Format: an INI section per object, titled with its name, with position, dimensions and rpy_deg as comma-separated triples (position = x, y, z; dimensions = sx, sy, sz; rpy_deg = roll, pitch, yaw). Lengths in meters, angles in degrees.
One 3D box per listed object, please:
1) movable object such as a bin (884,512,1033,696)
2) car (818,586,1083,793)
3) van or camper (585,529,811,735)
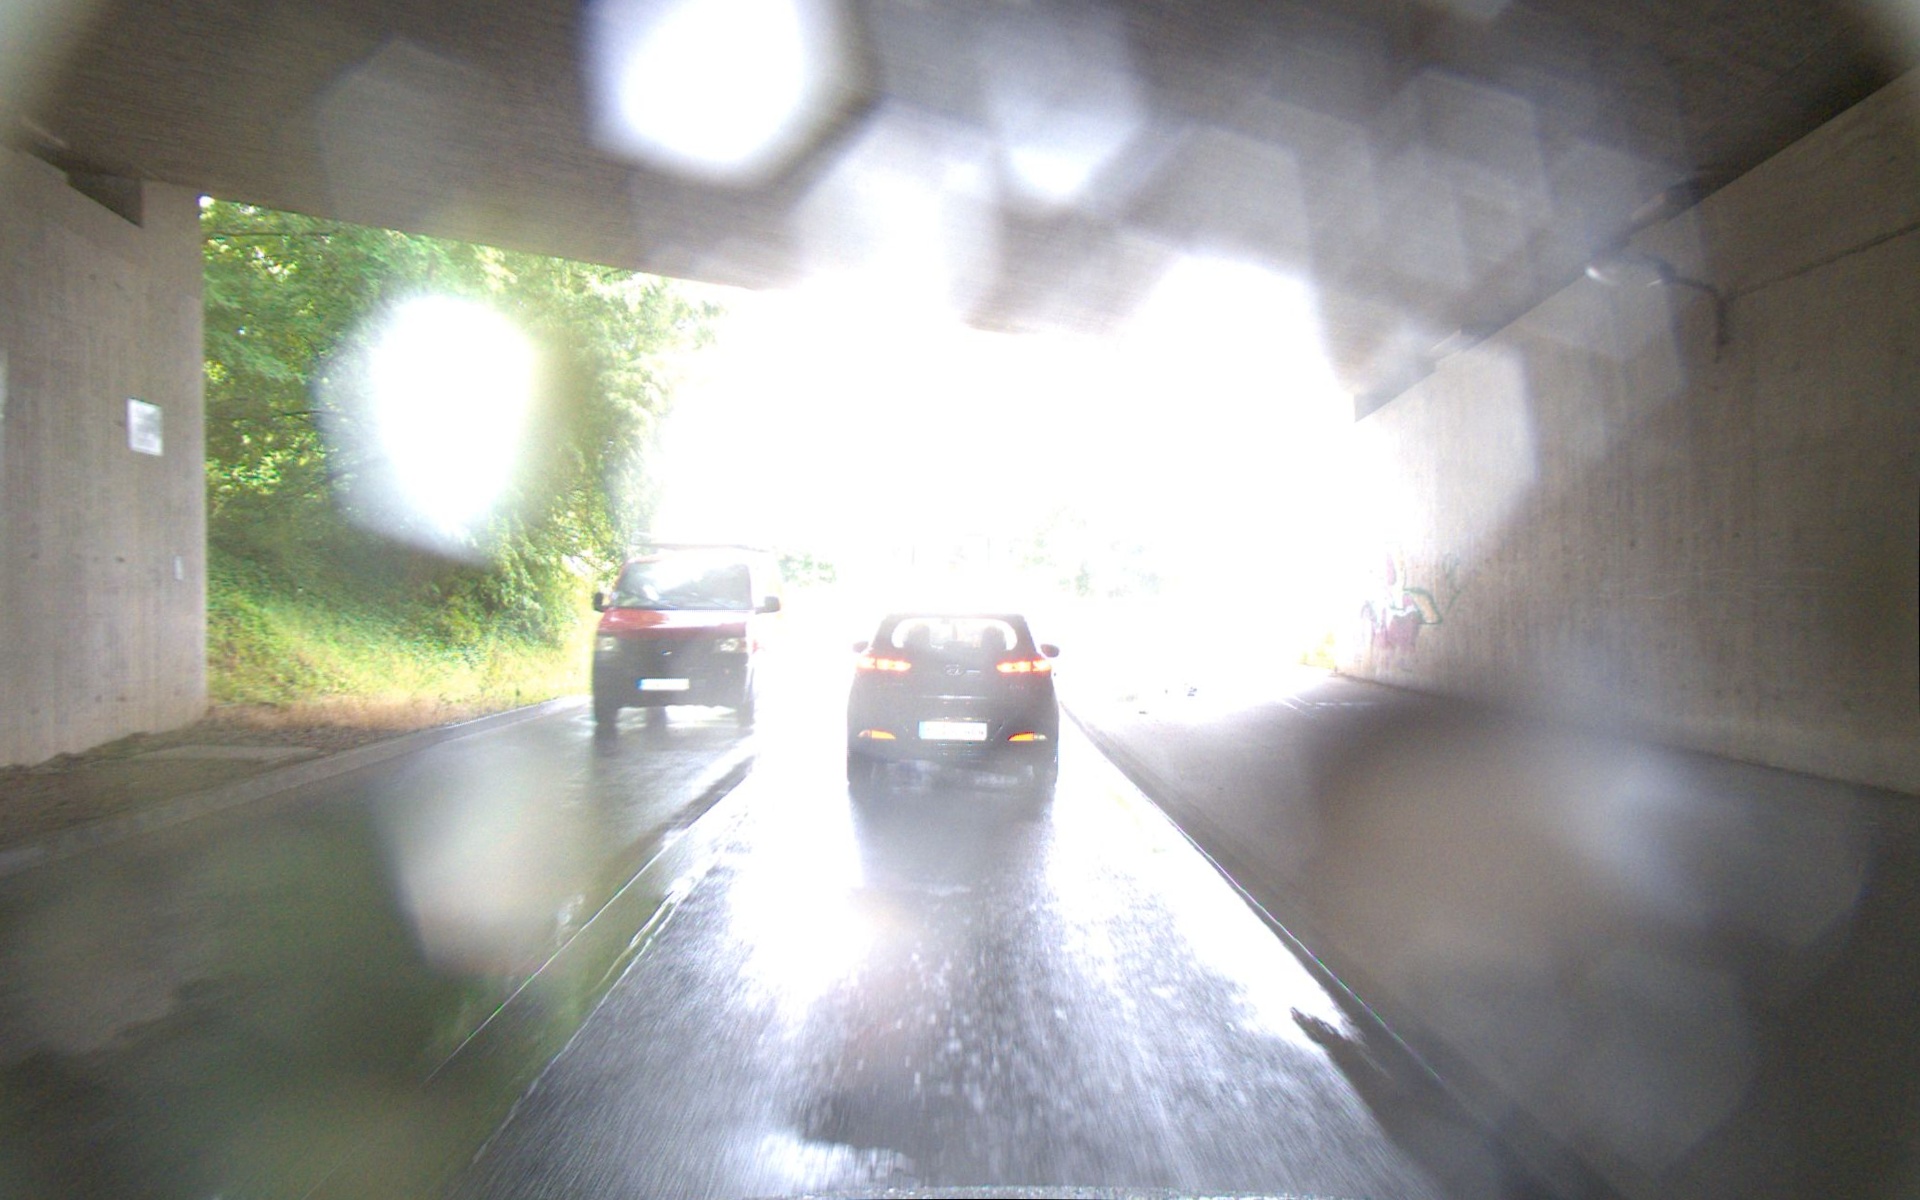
[movable object such as a bin]
position = -0.140, 0.049, 28.250
dimensions = 2.200, 2.716, 6.624
rpy_deg = 1, 0, -2
[car]
position = -0.216, 0.663, 14.327
dimensions = 1.954, 1.513, 3.996
rpy_deg = 1, 0, -4
[van or camper]
position = -2.977, 0.328, 19.829
dimensions = 1.953, 2.135, 4.691
rpy_deg = 1, 0, 0
